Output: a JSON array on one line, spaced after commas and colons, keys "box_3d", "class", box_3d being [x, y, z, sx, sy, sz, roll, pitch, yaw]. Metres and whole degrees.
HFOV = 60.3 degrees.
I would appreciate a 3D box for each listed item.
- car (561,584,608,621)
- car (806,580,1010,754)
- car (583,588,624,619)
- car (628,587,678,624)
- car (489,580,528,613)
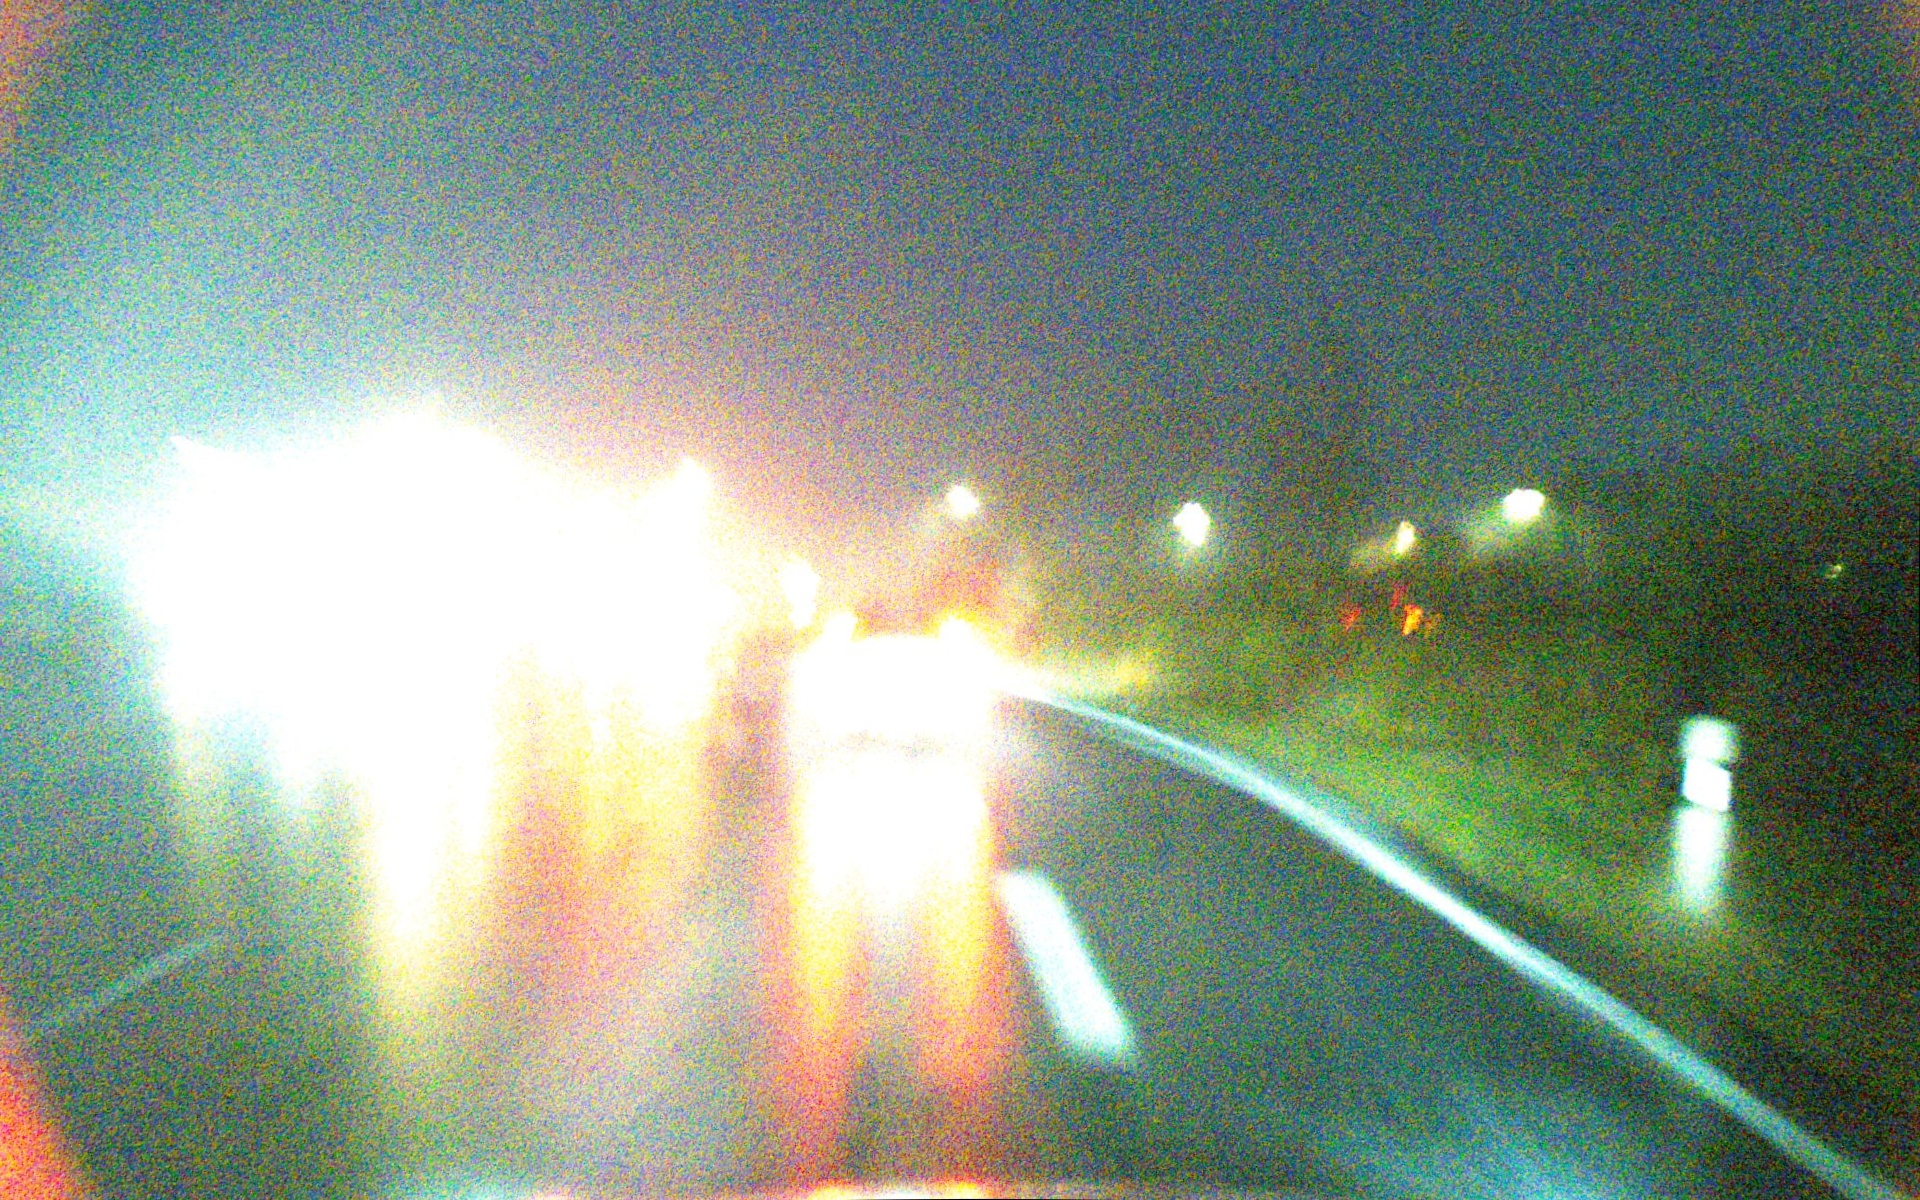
[{"box_3d": [-18.242, 0.104, 80.182, 1.961, 1.656, 4.964, -1, 1, -15], "class": "car"}, {"box_3d": [-0.588, 0.697, 18.583, 1.953, 1.656, 4.982, 1, -1, -2], "class": "car"}, {"box_3d": [-20.507, 0.178, 95.022, 1.961, 1.656, 4.964, -1, 1, -15], "class": "car"}, {"box_3d": [-14.935, 0.220, 80.315, 1.961, 1.656, 4.964, -1, 1, -15], "class": "car"}, {"box_3d": [-24.626, -0.208, 90.224, 1.961, 1.656, 4.964, -1, 1, -15], "class": "car"}]
